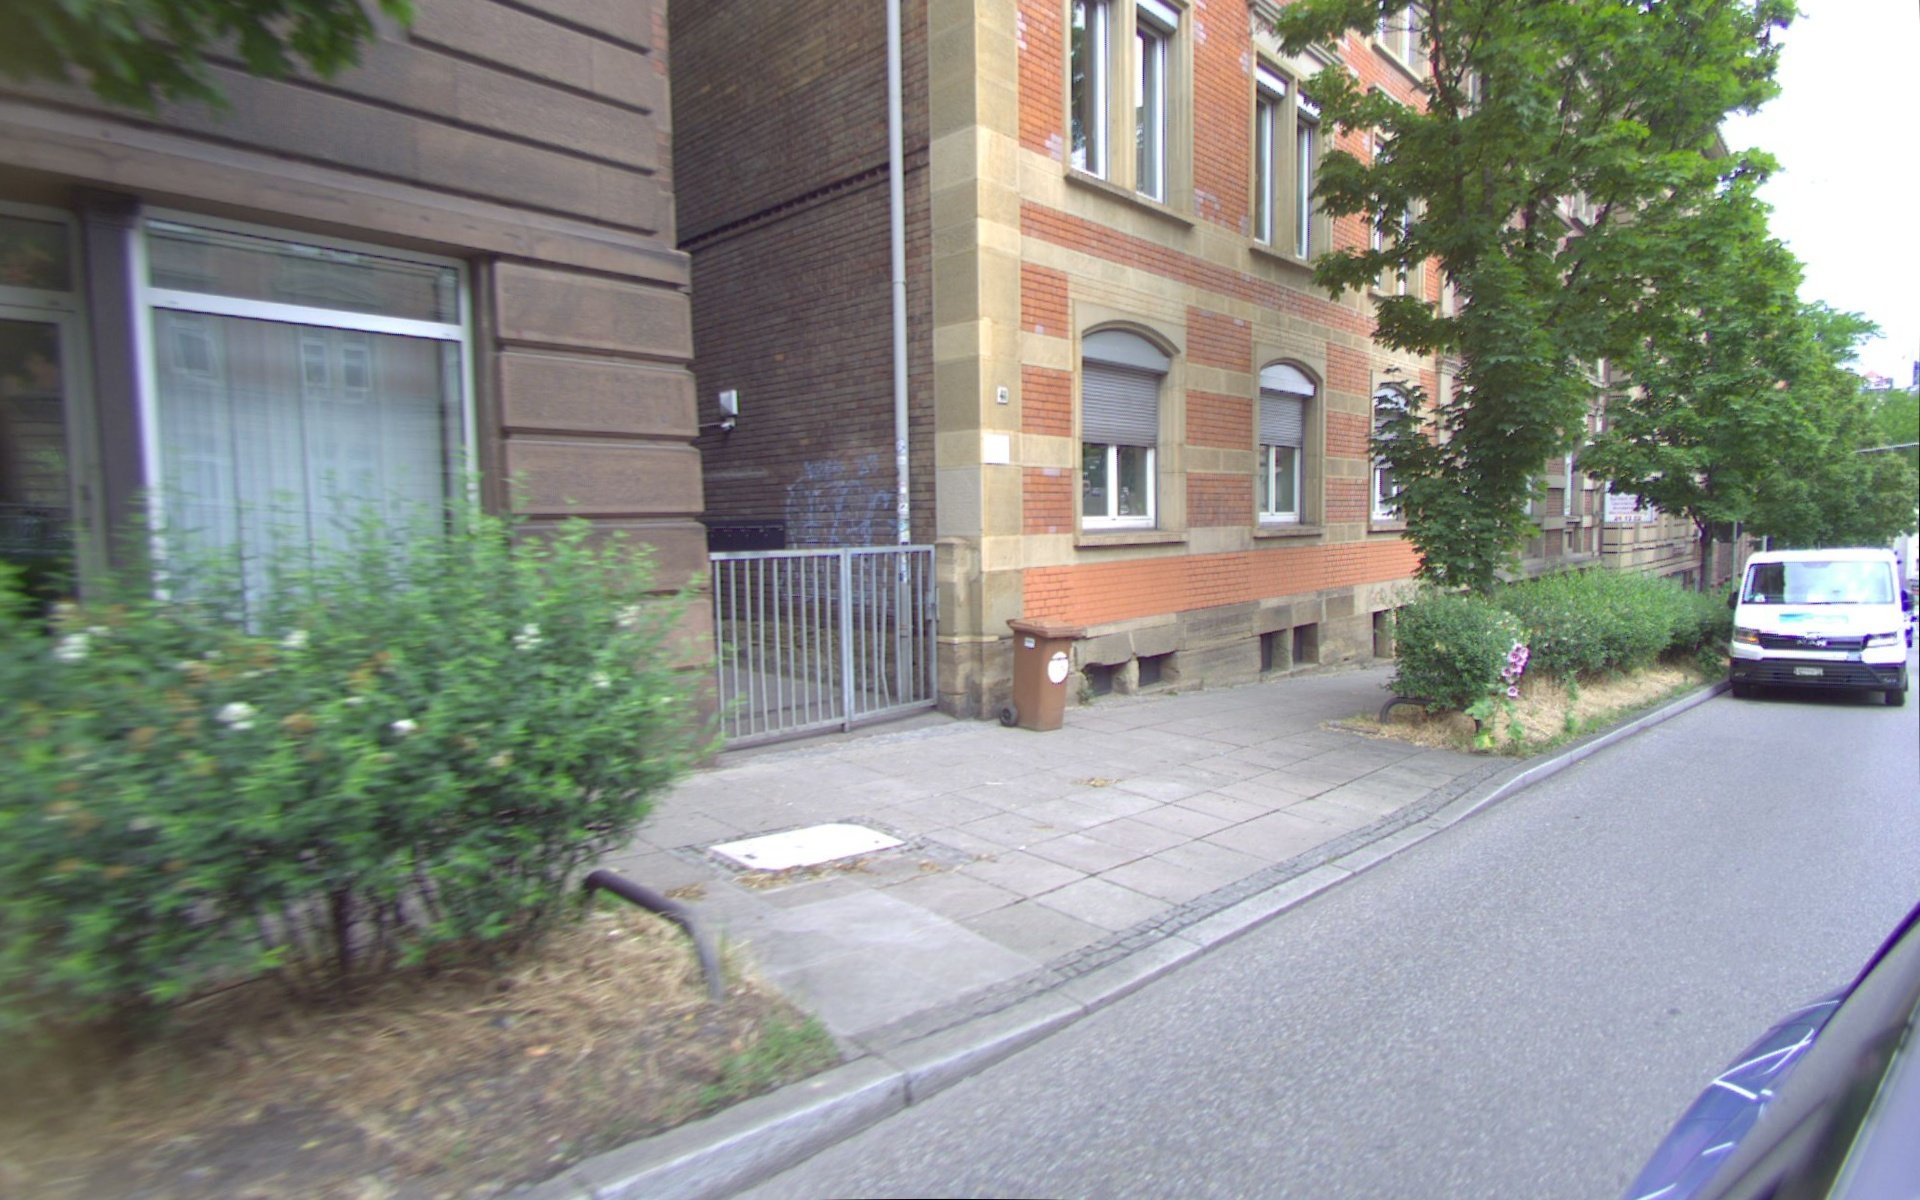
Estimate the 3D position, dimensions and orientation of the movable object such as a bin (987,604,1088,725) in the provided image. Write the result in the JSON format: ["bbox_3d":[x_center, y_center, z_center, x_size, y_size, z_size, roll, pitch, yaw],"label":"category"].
[{"bbox_3d":[0.660,0.532,8.706,0.530,0.954,0.672,0,2,-42],"label":"movable object such as a bin"}]

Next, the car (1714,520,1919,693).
[{"bbox_3d":[14.039,0.066,16.408,2.257,2.316,5.874,1,1,43],"label":"car"}]

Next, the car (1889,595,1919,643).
[{"bbox_3d":[32.356,0.616,33.913,1.691,1.492,3.796,3,2,44],"label":"car"}]
